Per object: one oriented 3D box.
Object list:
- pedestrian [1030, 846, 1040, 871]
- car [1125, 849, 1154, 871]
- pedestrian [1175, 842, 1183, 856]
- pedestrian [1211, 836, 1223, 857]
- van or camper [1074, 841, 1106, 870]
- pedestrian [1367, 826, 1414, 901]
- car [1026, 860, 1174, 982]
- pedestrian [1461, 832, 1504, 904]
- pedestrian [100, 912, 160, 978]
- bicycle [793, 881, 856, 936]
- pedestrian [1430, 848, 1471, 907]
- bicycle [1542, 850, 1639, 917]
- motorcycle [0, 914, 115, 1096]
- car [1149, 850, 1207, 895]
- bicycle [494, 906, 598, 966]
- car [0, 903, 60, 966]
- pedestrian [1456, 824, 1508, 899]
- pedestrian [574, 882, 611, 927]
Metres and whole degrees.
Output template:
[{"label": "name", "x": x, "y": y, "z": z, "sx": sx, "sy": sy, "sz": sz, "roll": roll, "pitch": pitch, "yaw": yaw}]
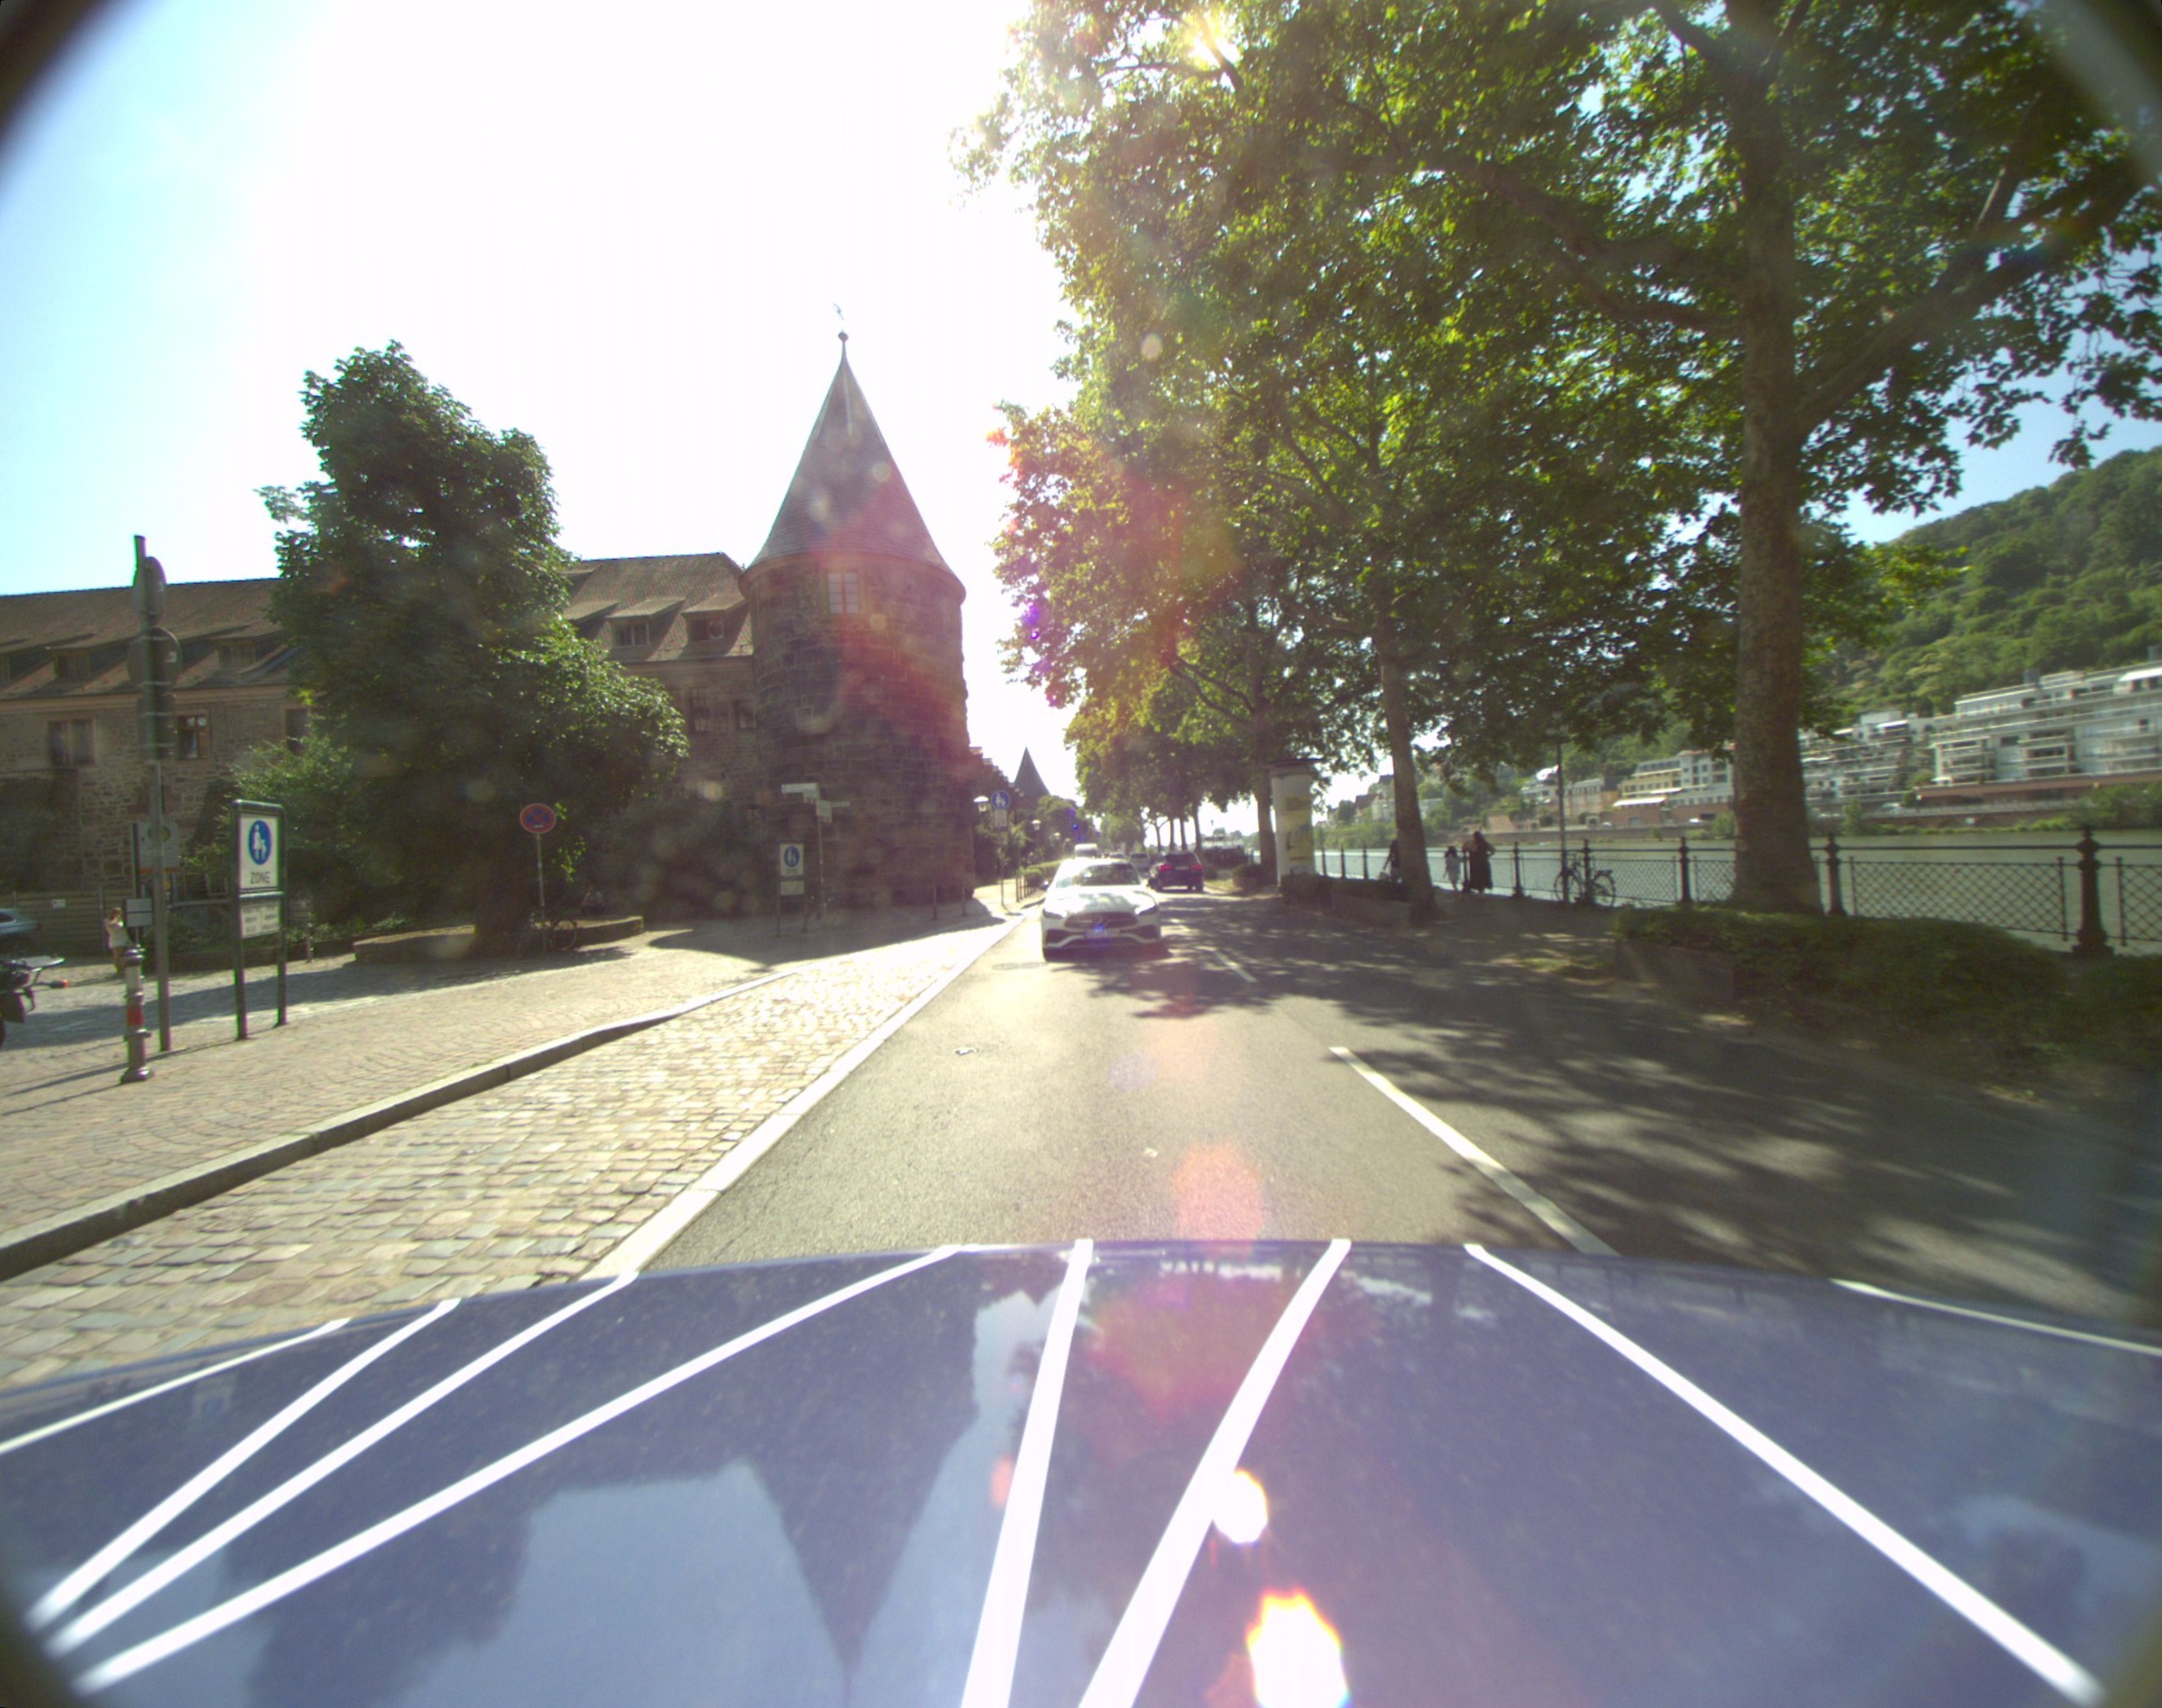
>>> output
[{"label": "pedestrian", "x": -3.579, "y": 0.332, "z": 59.031, "sx": 0.556, "sy": 1.844, "sz": 1.023, "roll": -3, "pitch": 1, "yaw": 1}, {"label": "car", "x": 4.808, "y": 0.445, "z": 62.554, "sx": 1.998, "sy": 1.598, "sz": 4.257, "roll": -3, "pitch": 1, "yaw": 1}, {"label": "pedestrian", "x": 11.976, "y": -0.582, "z": 92.892, "sx": 0.760, "sy": 1.697, "sz": 0.730, "roll": -2, "pitch": 1, "yaw": 3}, {"label": "pedestrian", "x": 11.233, "y": -0.614, "z": 62.645, "sx": 0.760, "sy": 1.697, "sz": 0.730, "roll": -3, "pitch": 1, "yaw": 0}, {"label": "van or camper", "x": 0.772, "y": 0.085, "z": 64.528, "sx": 2.437, "sy": 2.271, "sz": 6.203, "roll": -3, "pitch": 1, "yaw": 1}, {"label": "pedestrian", "x": 7.409, "y": 0.217, "z": 18.208, "sx": 0.760, "sy": 1.720, "sz": 0.730, "roll": -3, "pitch": 1, "yaw": 0}, {"label": "car", "x": 0.316, "y": 0.894, "z": 12.249, "sx": 1.875, "sy": 1.416, "sz": 4.744, "roll": -2, "pitch": 1, "yaw": 2}, {"label": "pedestrian", "x": 9.299, "y": 0.314, "z": 17.601, "sx": 0.633, "sy": 1.618, "sz": 0.553, "roll": -3, "pitch": 1, "yaw": 0}, {"label": "pedestrian", "x": -22.112, "y": 2.092, "z": 17.671, "sx": 0.660, "sy": 1.413, "sz": 0.675, "roll": -2, "pitch": 3, "yaw": 32}, {"label": "bicycle", "x": -6.221, "y": 1.298, "z": 18.541, "sx": 0.845, "sy": 1.146, "sz": 1.844, "roll": -3, "pitch": 1, "yaw": 1}, {"label": "pedestrian", "x": 8.650, "y": 0.540, "z": 17.790, "sx": 0.633, "sy": 1.312, "sz": 0.553, "roll": -3, "pitch": 1, "yaw": 0}, {"label": "bicycle", "x": 9.676, "y": 0.527, "z": 14.520, "sx": 0.564, "sy": 1.146, "sz": 1.844, "roll": -5, "pitch": 1, "yaw": 1}, {"label": "motorcycle", "x": -8.350, "y": 1.155, "z": 4.940, "sx": 0.885, "sy": 1.285, "sz": 2.527, "roll": -4, "pitch": 0, "yaw": -3}, {"label": "car", "x": 3.901, "y": 0.698, "z": 31.295, "sx": 1.875, "sy": 1.661, "sz": 4.745, "roll": -2, "pitch": 0, "yaw": 2}, {"label": "bicycle", "x": -10.966, "y": 1.651, "z": 15.656, "sx": 0.659, "sy": 0.996, "sz": 1.714, "roll": -3, "pitch": 1, "yaw": 11}, {"label": "car", "x": -31.273, "y": 2.409, "z": 20.195, "sx": 1.998, "sy": 1.608, "sz": 4.425, "roll": -2, "pitch": 3, "yaw": 4}, {"label": "pedestrian", "x": 9.367, "y": 0.163, "z": 17.769, "sx": 0.793, "sy": 1.674, "sz": 0.709, "roll": -3, "pitch": 1, "yaw": 0}, {"label": "pedestrian", "x": -14.424, "y": 1.481, "z": 22.445, "sx": 0.667, "sy": 1.225, "sz": 0.781, "roll": -4, "pitch": 1, "yaw": -19}]
